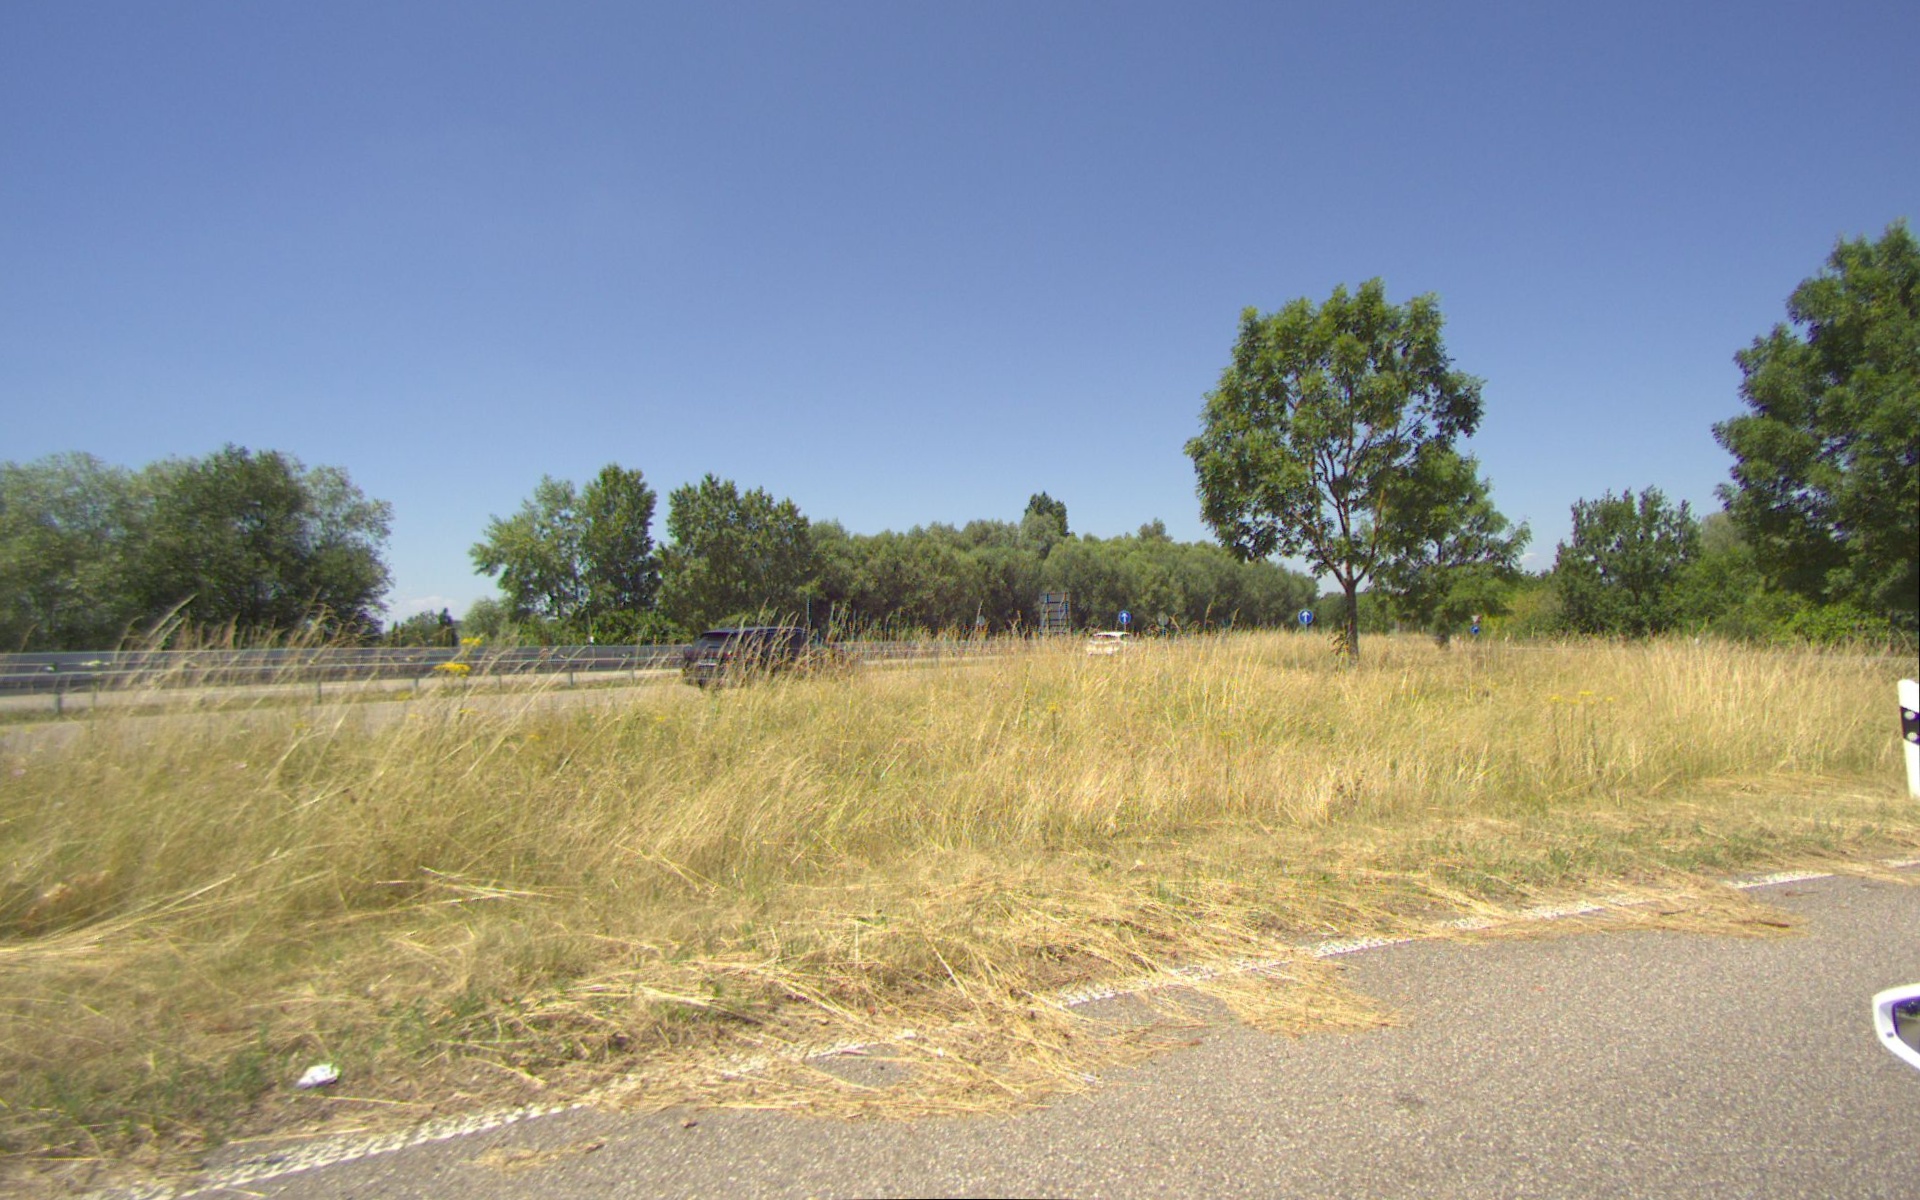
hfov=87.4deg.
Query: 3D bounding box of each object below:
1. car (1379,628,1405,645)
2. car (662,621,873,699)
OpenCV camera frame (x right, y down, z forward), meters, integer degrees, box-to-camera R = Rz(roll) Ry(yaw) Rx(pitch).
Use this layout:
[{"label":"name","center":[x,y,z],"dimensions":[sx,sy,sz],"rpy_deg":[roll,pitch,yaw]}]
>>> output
[{"label":"car","center":[43.477,3.638,101.062],"dimensions":[2.005,1.695,3.993],"rpy_deg":[0,-2,29]},{"label":"car","center":[-4.008,1.221,21.897],"dimensions":[1.856,1.500,4.998],"rpy_deg":[-1,-2,27]}]
